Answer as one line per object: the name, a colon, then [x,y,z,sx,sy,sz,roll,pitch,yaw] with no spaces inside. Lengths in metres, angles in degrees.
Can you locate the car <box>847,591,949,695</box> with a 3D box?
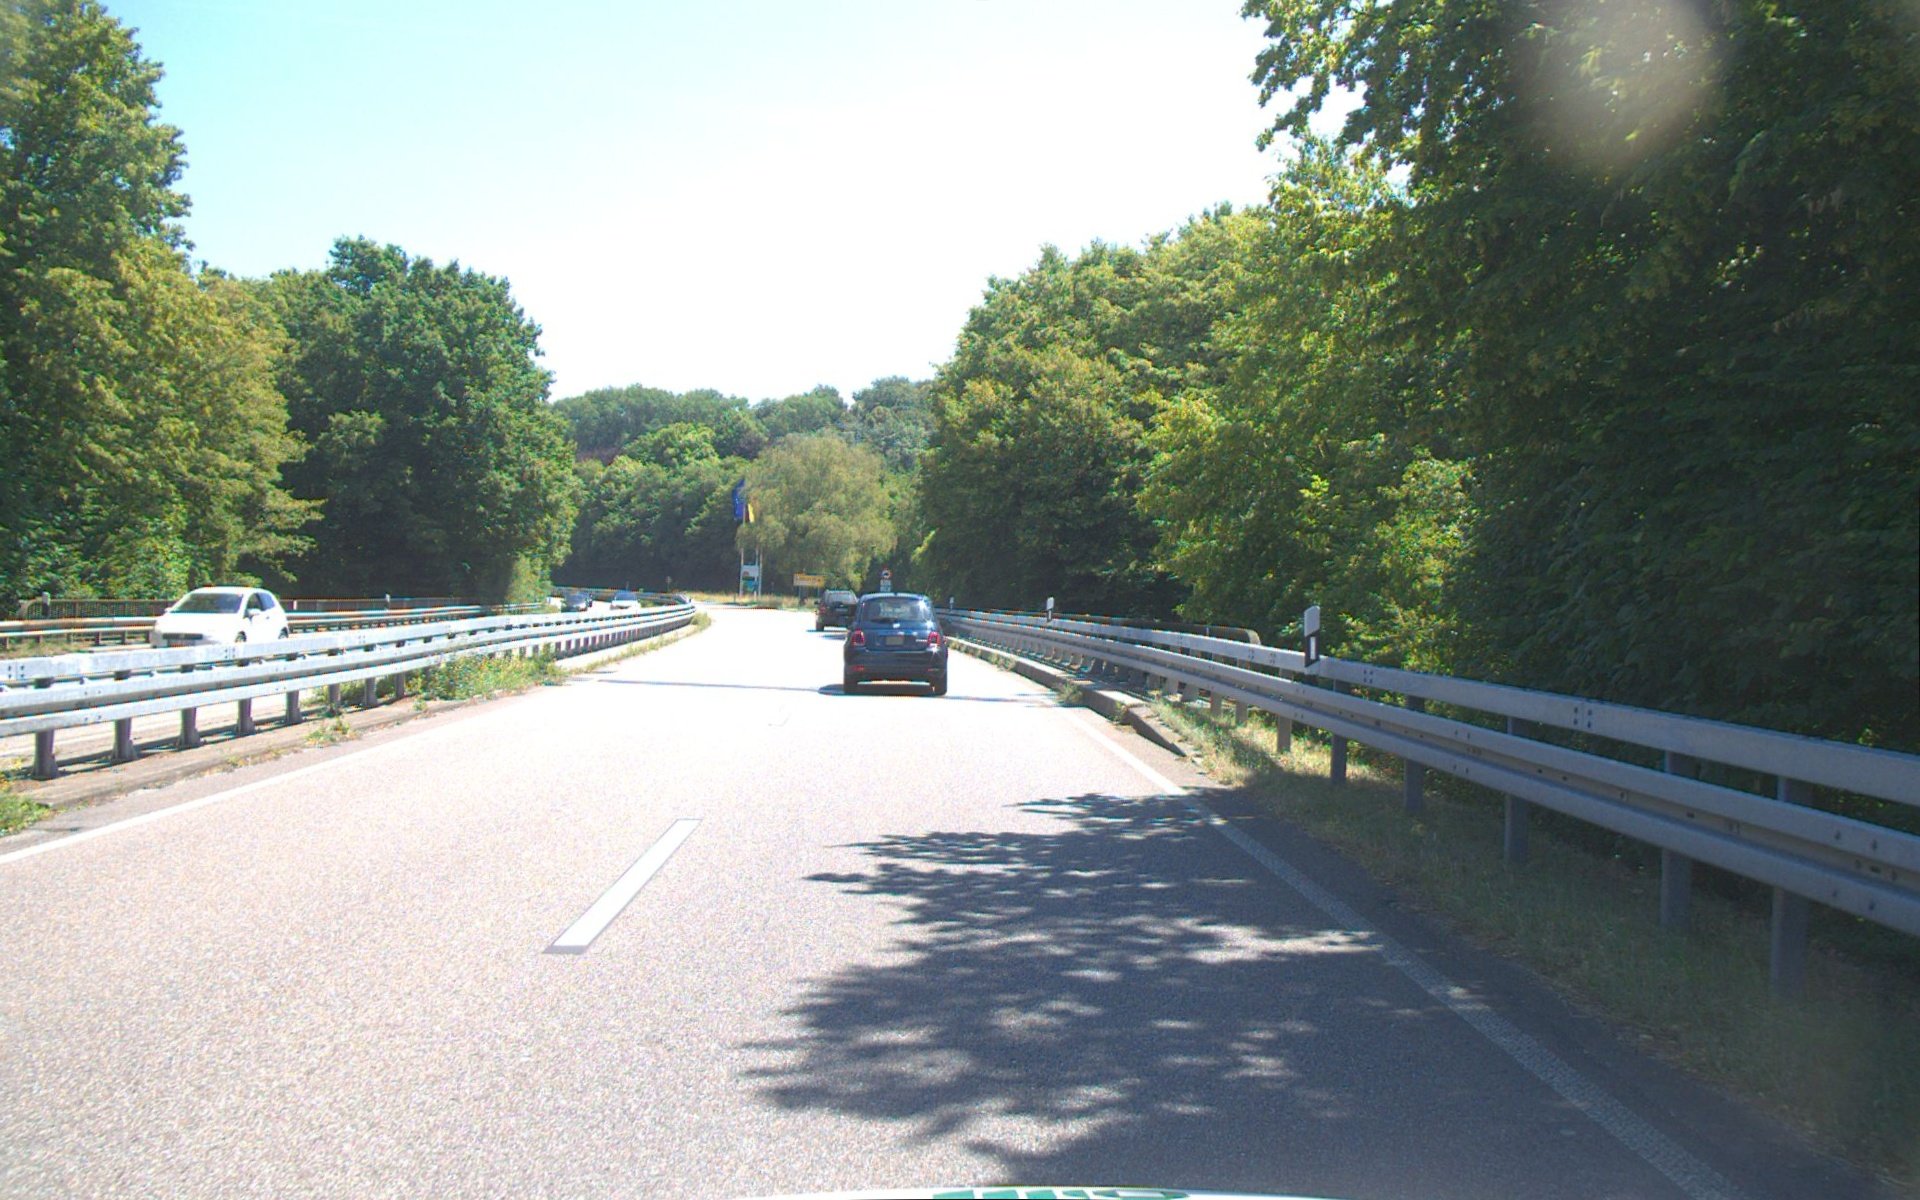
car: [-0.969,0.628,26.046,1.483,1.527,3.588,0,0,-2]

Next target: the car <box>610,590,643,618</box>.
car: [-20.333,0.244,101.024,1.619,1.634,4.214,0,0,-6]

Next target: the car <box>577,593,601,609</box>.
car: [-35.363,0.083,157.704,1.722,1.555,4.678,0,0,-6]

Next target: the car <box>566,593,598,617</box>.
car: [-24.834,0.301,108.725,1.619,1.555,3.993,0,0,-6]

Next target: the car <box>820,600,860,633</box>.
car: [-5.053,0.657,69.144,1.496,1.336,3.409,0,0,-7]

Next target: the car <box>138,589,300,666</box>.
car: [-15.182,0.525,34.112,1.618,1.472,4.217,0,0,-3]
